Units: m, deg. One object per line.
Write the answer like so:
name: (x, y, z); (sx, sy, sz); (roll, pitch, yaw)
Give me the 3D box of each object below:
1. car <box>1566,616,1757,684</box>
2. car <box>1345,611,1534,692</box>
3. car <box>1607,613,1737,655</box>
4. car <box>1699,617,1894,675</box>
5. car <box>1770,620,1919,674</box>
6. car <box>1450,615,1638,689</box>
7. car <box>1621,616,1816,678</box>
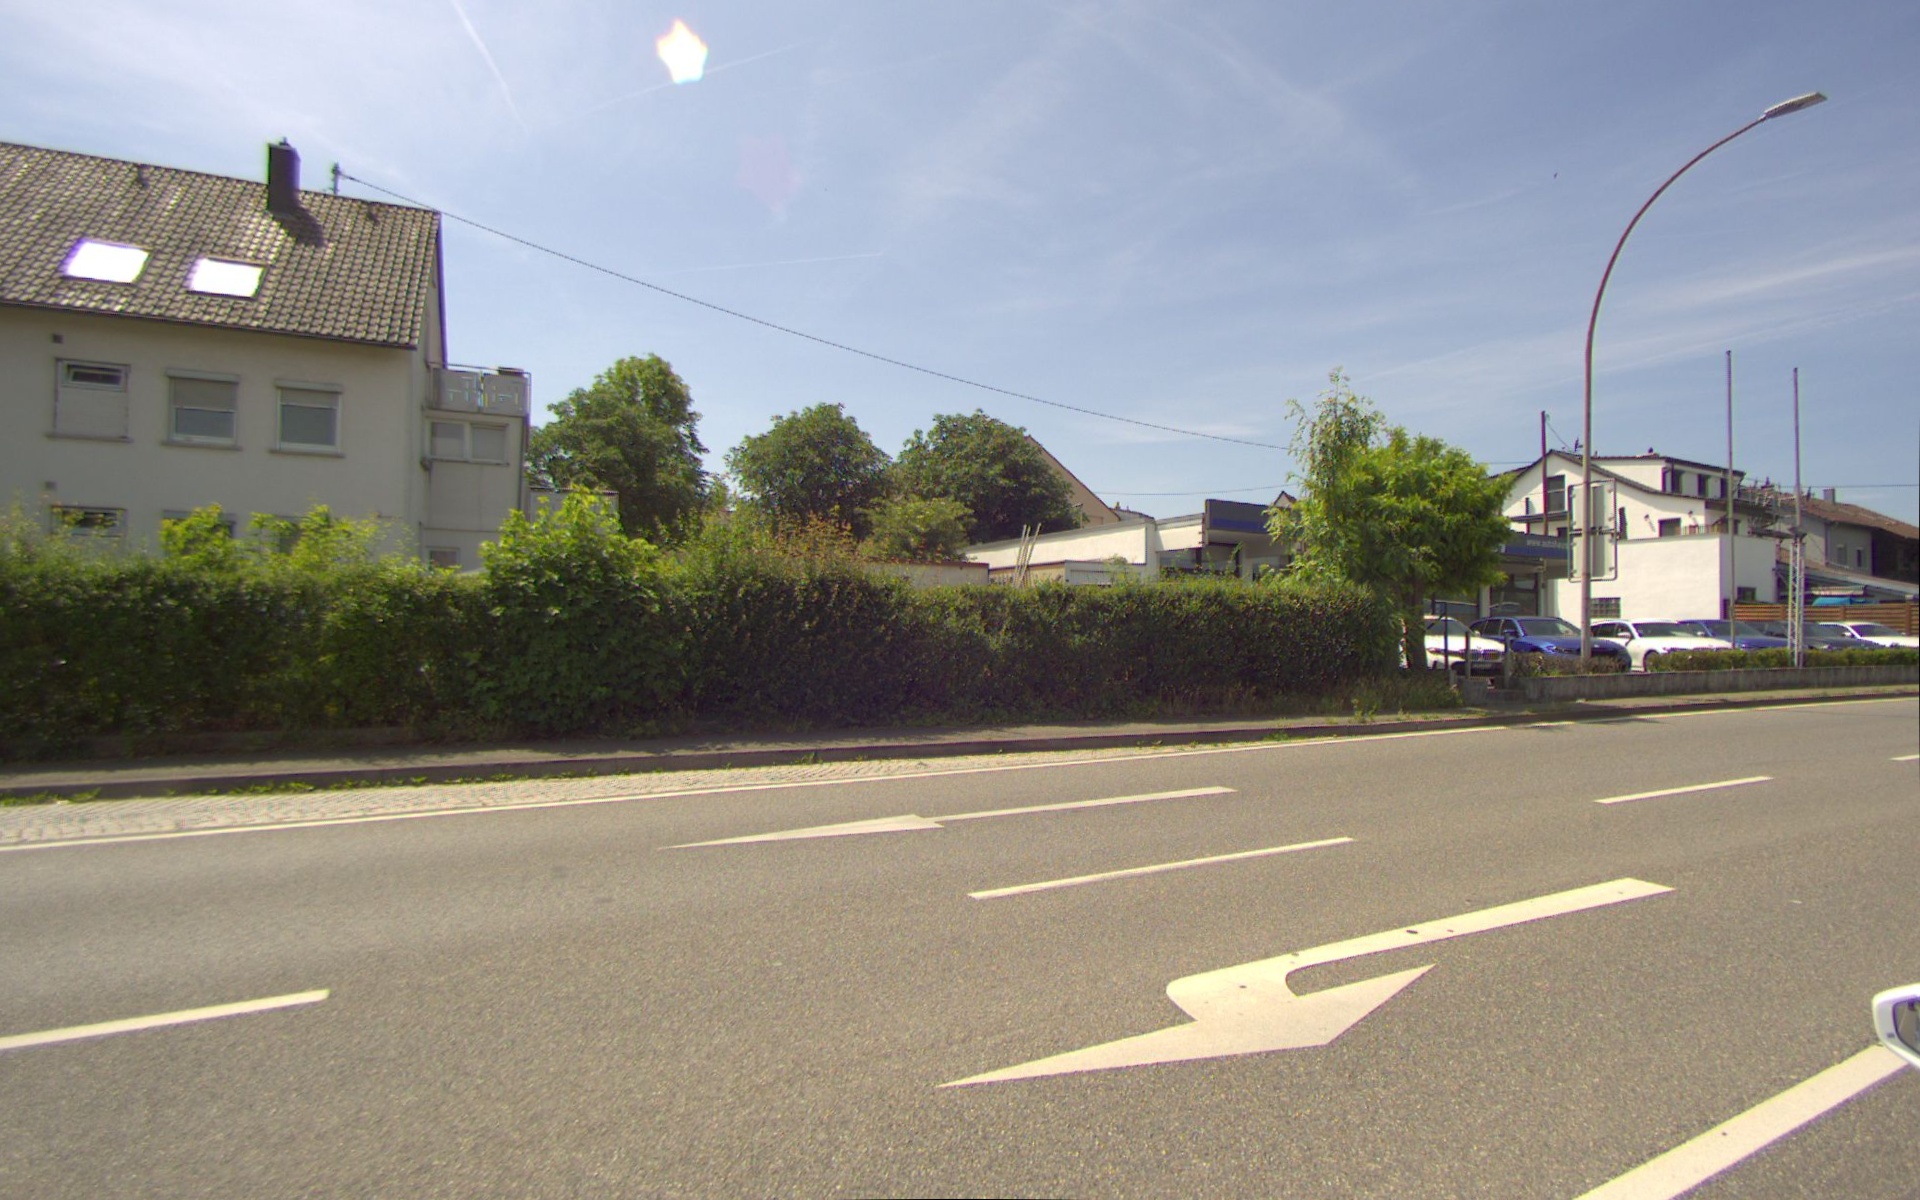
car: (17.323, 1.163, 25.113); (1.820, 1.467, 4.517); (1, 0, 4)
car: (9.990, 1.007, 21.388); (1.820, 1.466, 4.581); (2, -1, 0)
car: (28.138, 1.294, 39.840); (1.804, 1.530, 3.988); (1, 0, -15)
car: (23.952, 1.272, 29.003); (1.862, 1.466, 4.340); (2, -1, -3)
car: (27.330, 1.382, 30.476); (1.821, 1.466, 4.340); (2, -1, -3)
car: (13.290, 1.116, 23.204); (1.820, 1.466, 4.343); (2, -1, 0)
car: (20.576, 1.226, 27.501); (1.822, 1.466, 4.339); (2, -1, -4)
